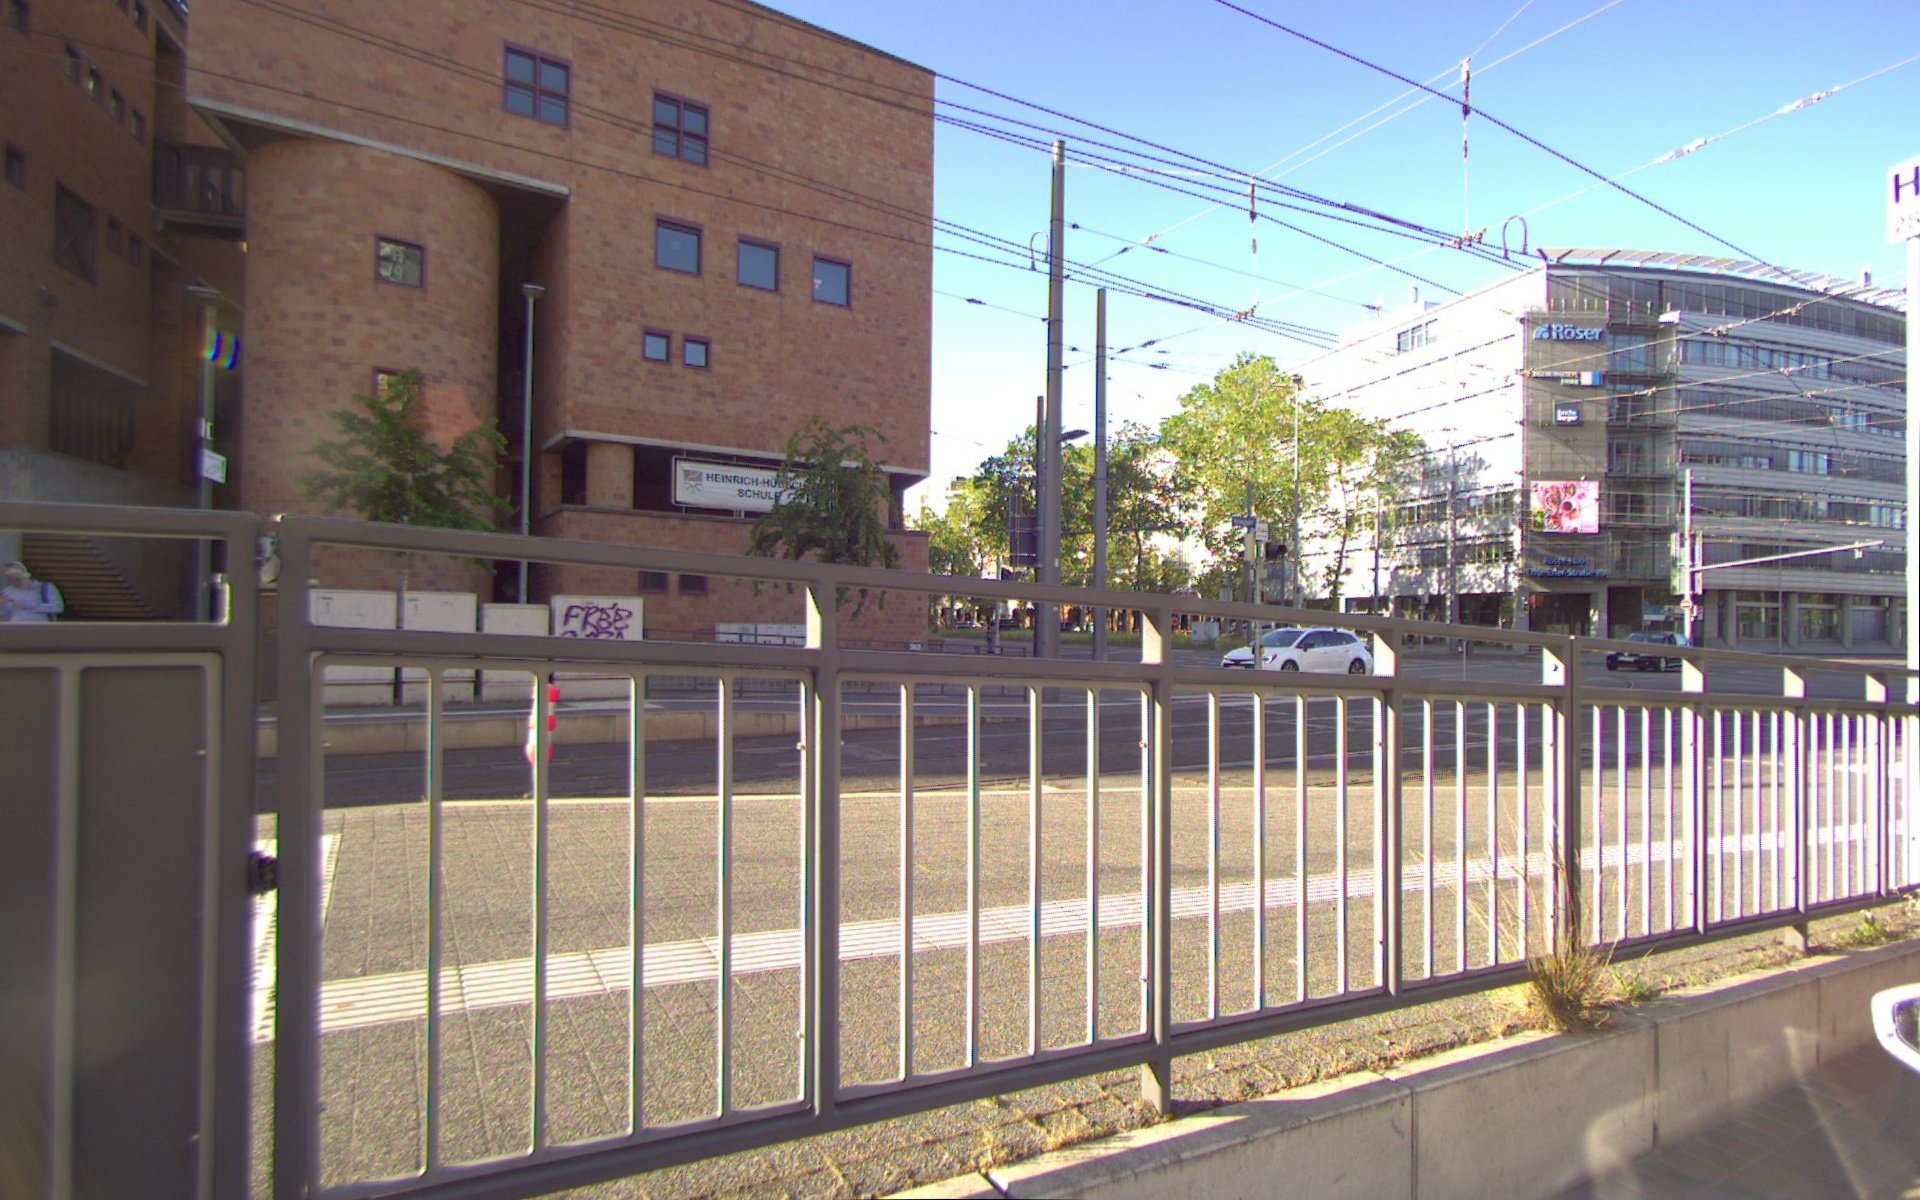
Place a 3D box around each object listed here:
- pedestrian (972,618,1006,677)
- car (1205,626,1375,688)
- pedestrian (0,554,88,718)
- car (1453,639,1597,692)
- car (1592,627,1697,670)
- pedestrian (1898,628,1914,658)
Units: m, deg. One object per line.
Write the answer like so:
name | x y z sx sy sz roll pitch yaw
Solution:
pedestrian | 0.865 1.417 29.969 0.785 1.714 0.587 2 0 -29
car | 8.512 1.400 25.772 4.484 1.449 1.814 1 -1 -35
pedestrian | -9.711 0.369 10.573 0.679 1.656 0.662 2 0 -34
car | 13.690 1.558 24.393 2.841 1.077 1.238 2 0 40
car | 25.296 1.790 37.094 4.198 1.449 1.813 2 0 -35
pedestrian | 66.338 3.018 70.438 0.745 2.040 0.627 2 0 -30
